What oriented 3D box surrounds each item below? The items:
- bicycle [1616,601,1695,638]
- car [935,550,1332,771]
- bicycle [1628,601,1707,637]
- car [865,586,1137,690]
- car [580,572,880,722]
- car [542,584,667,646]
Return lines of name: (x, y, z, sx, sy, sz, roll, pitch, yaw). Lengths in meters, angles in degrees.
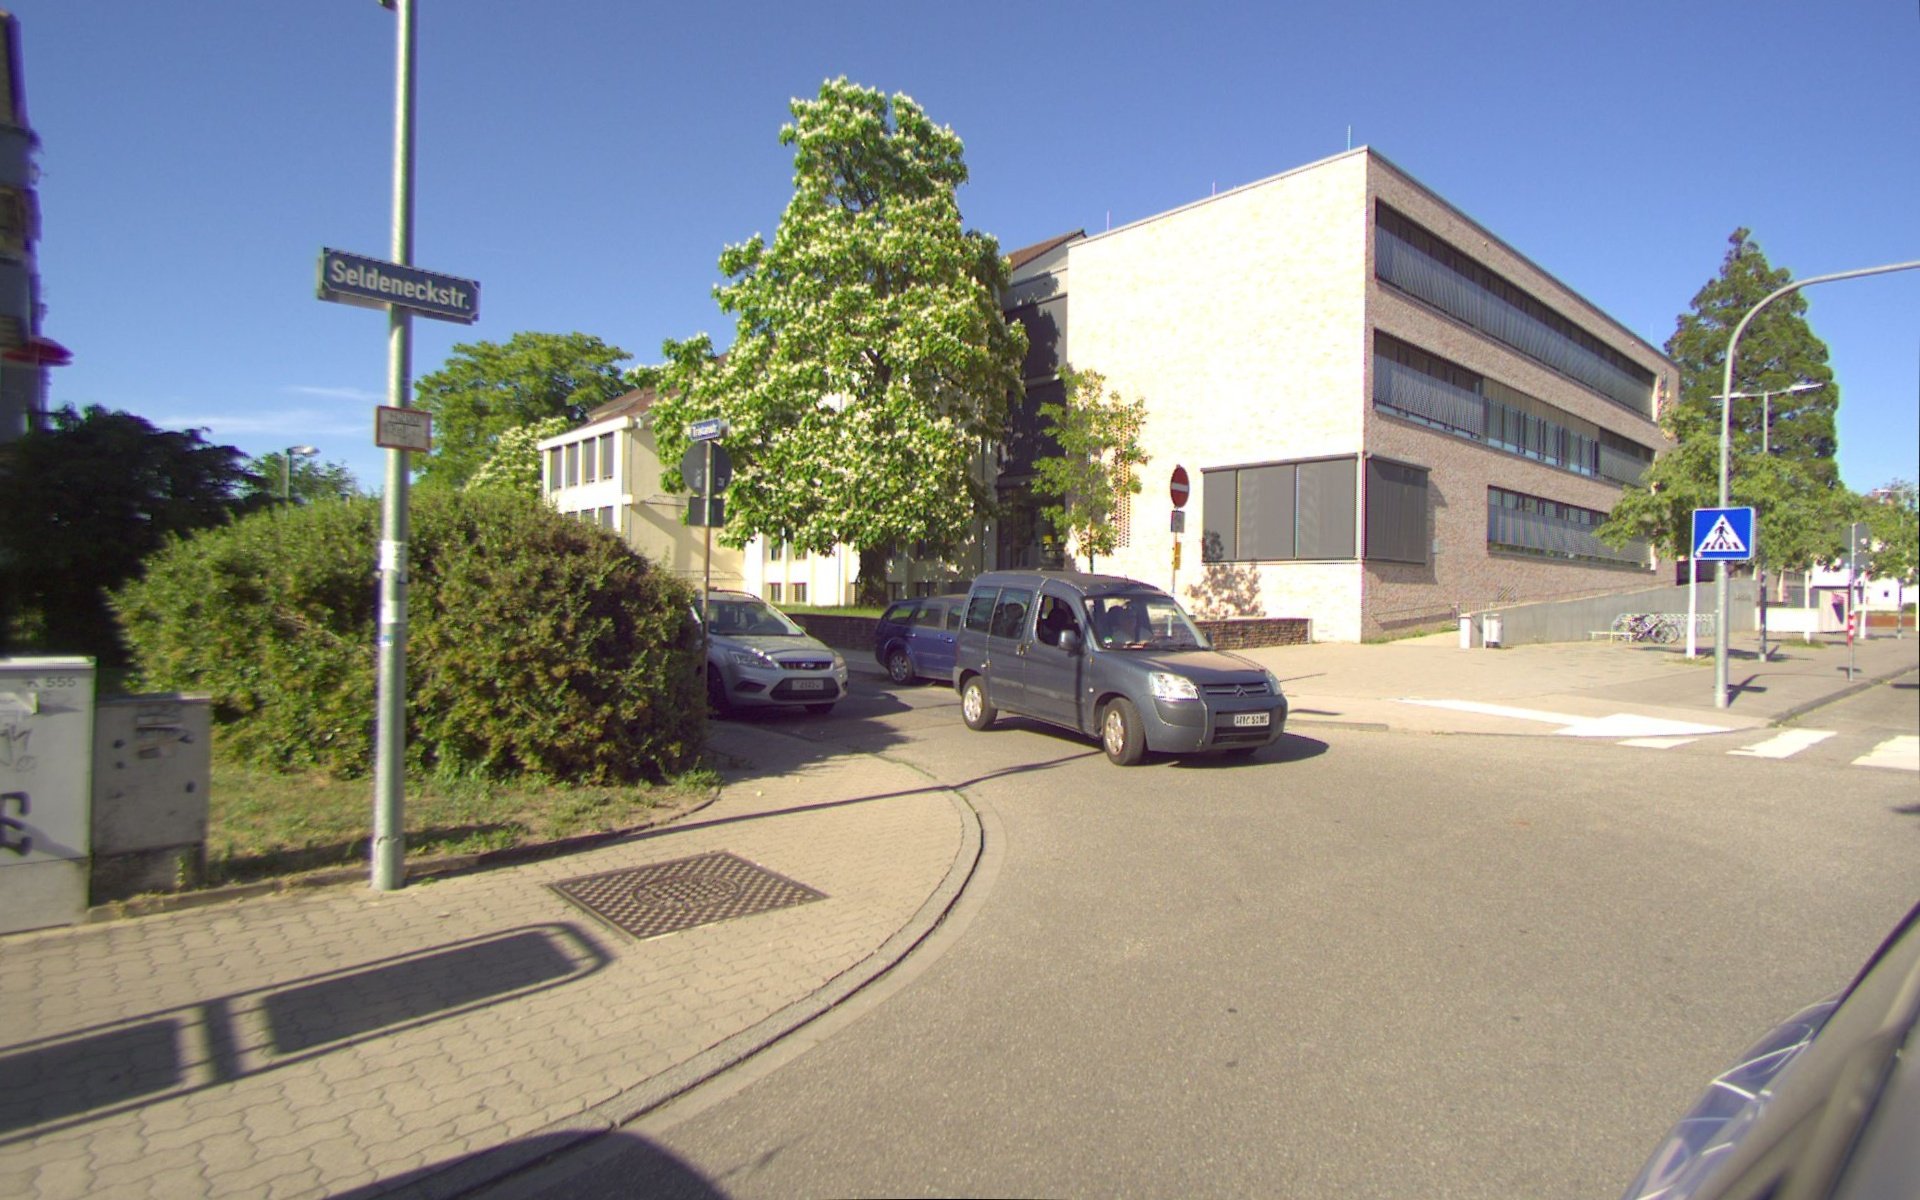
bicycle: (23.650, 0.634, 34.431, 0.868, 1.076, 2.028, 0, 3, -42)
car: (1.553, 0.477, 10.572, 1.866, 1.812, 4.161, 0, 0, -30)
bicycle: (24.616, 0.647, 35.250, 0.845, 1.077, 2.084, 0, 3, -41)
car: (0.542, 0.519, 16.906, 1.876, 1.493, 4.550, 0, 1, -43)
car: (-3.169, 0.489, 13.347, 1.882, 1.644, 4.411, 0, 0, -43)
car: (-10.167, 0.354, 28.779, 1.869, 1.498, 4.155, -4, 4, -41)
